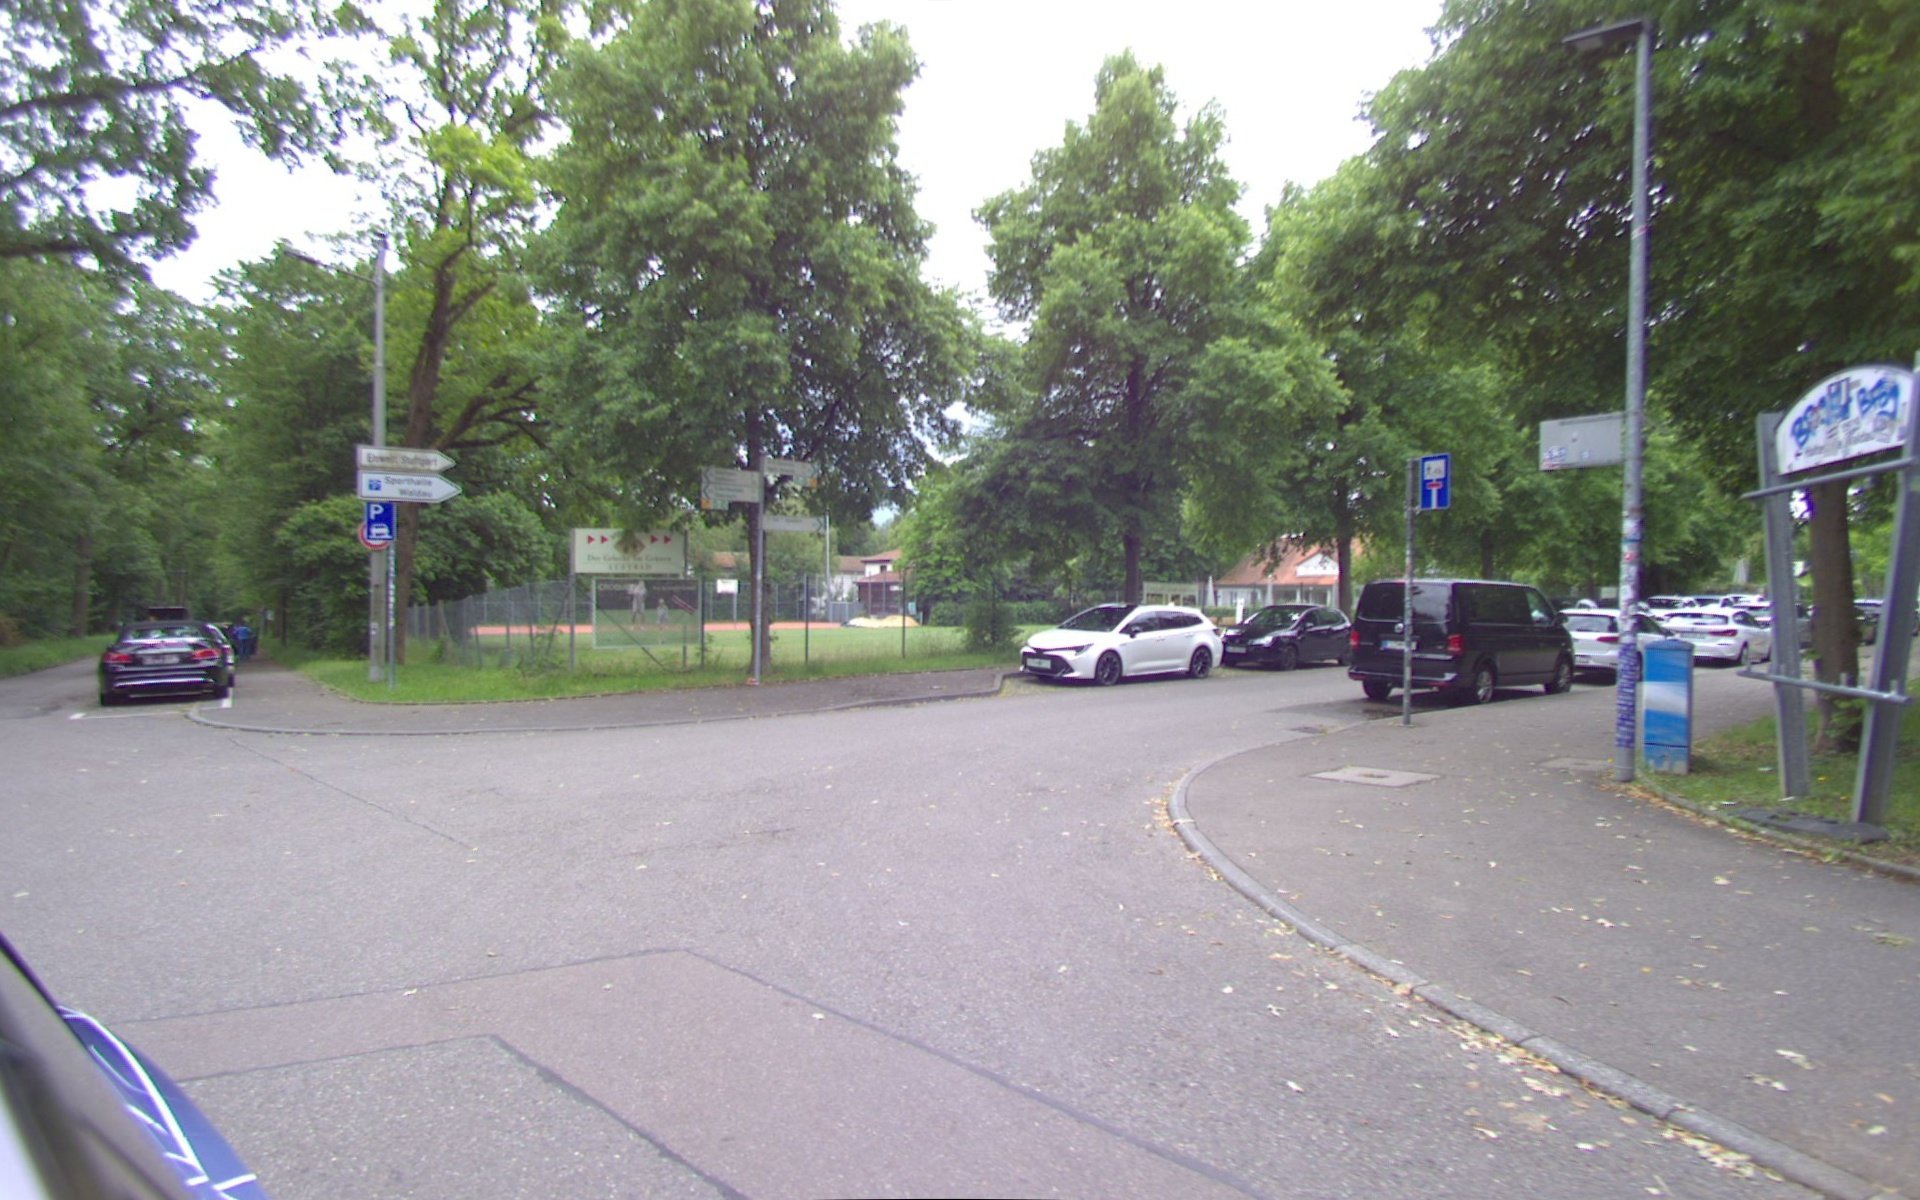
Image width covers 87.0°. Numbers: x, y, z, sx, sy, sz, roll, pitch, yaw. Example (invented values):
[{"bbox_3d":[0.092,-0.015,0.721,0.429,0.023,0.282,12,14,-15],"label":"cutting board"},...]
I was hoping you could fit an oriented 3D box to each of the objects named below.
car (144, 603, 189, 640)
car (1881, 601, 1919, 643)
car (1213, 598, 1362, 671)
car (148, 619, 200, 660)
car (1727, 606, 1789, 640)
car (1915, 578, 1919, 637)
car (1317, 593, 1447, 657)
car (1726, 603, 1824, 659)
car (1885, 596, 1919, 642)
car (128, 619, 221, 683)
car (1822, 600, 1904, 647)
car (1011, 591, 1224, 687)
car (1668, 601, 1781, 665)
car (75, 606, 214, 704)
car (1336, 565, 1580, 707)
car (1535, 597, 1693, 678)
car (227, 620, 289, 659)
[{"bbox_3d":[-58.381,1.556,74.475,2.540,2.554,4.945,-1,0,-38],"label":"car"},{"bbox_3d":[35.150,0.791,37.121,3.137,1.492,1.477,0,-1,-38],"label":"car"},{"bbox_3d":[7.423,0.738,22.817,3.609,1.466,1.553,1,2,-42],"label":"car"},{"bbox_3d":[-32.993,1.630,42.439,1.595,1.604,3.525,-1,-1,-40],"label":"car"},{"bbox_3d":[35.839,1.026,45.456,3.137,1.492,1.477,0,-1,-38],"label":"car"},{"bbox_3d":[51.992,0.387,52.937,4.818,3.038,2.196,0,-1,-38],"label":"car"},{"bbox_3d":[11.645,0.647,27.829,3.937,1.608,1.699,1,1,-41],"label":"car"},{"bbox_3d":[22.945,0.836,28.472,3.137,1.492,1.477,0,-1,-38],"label":"car"},{"bbox_3d":[41.894,0.820,44.366,3.137,1.982,1.477,0,-1,-38],"label":"car"},{"bbox_3d":[-19.178,1.235,24.641,1.665,1.369,4.227,-1,-2,-40],"label":"car"},{"bbox_3d":[30.048,0.764,33.656,3.137,1.492,1.477,0,-1,-38],"label":"car"},{"bbox_3d":[3.063,0.665,19.203,4.151,1.608,1.773,1,0,-42],"label":"car"},{"bbox_3d":[18.948,0.783,25.054,3.137,1.492,1.477,0,-1,-38],"label":"car"},{"bbox_3d":[-14.444,0.964,18.113,1.743,1.506,4.336,-1,-2,-37],"label":"car"},{"bbox_3d":[8.161,0.542,16.481,4.041,2.029,1.999,0,-1,-38],"label":"car"},{"bbox_3d":[13.183,0.718,20.340,3.464,1.492,1.606,0,-1,-38],"label":"car"},{"bbox_3d":[-31.339,1.724,45.136,1.928,1.631,3.645,2,-2,-40],"label":"car"}]
